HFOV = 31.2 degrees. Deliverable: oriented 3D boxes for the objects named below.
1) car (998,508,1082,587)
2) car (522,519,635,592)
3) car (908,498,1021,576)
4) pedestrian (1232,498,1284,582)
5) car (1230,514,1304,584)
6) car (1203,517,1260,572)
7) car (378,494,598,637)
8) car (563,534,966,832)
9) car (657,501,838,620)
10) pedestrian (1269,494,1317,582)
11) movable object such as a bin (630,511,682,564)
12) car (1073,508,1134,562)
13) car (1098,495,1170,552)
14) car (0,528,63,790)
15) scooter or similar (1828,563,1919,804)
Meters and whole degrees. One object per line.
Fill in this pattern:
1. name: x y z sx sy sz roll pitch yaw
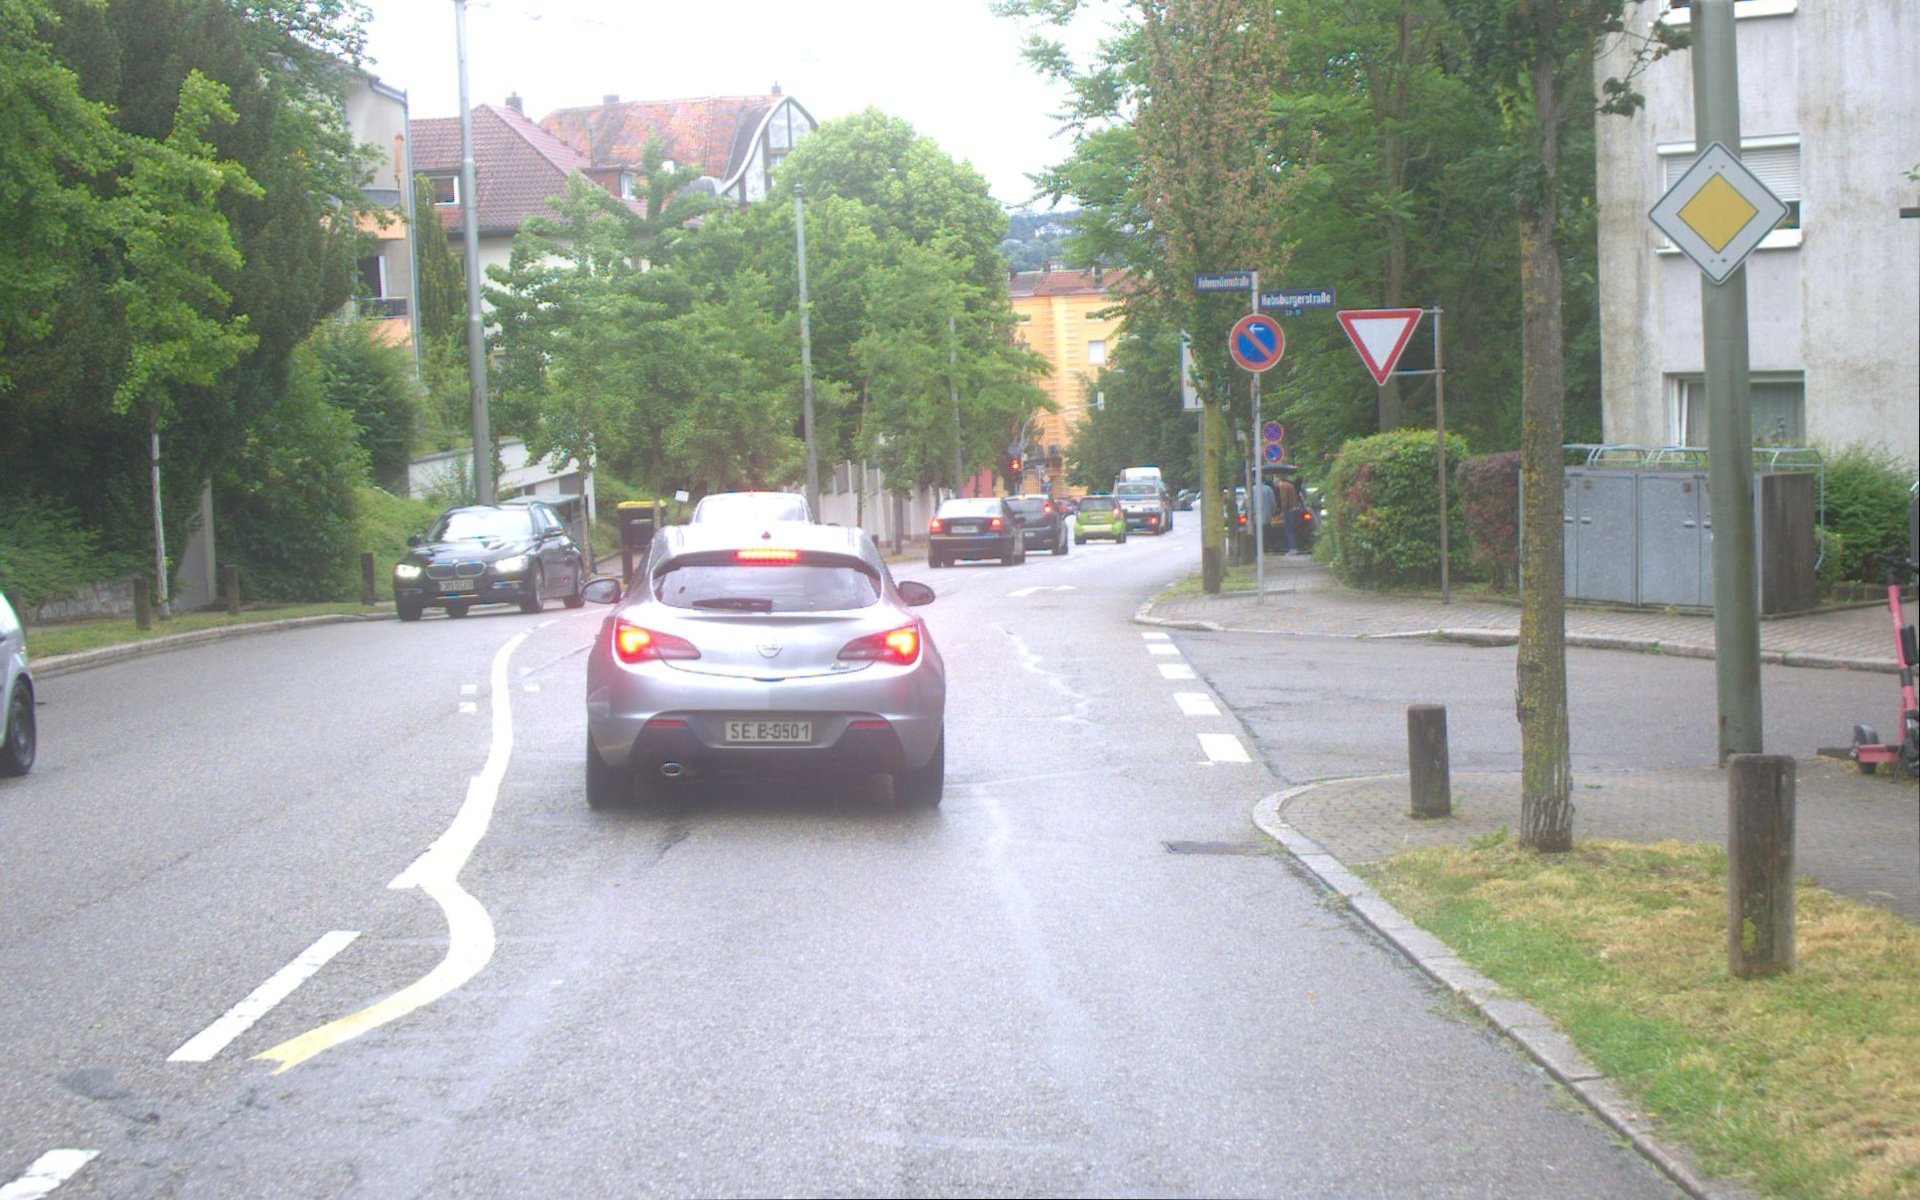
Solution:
1. car: 1.951 -1.290 82.547 1.769 1.775 3.976 1 2 4
2. car: -8.522 -1.013 77.085 1.742 1.451 3.884 -5 1 4
3. car: 0.125 -1.309 69.830 1.961 1.467 3.950 1 2 5
4. pedestrian: 6.314 -1.265 72.912 0.734 1.718 0.765 -5 1 -19
5. car: 6.729 -1.119 75.413 1.504 1.430 3.999 -3 1 5
6. car: 10.709 -2.223 135.359 1.994 2.029 4.734 1 2 7
7. car: -5.973 -0.460 43.992 1.911 1.579 4.587 -5 1 2
8. car: -0.981 0.376 18.697 1.945 1.427 3.884 1 1 -1
9. car: -2.450 -0.483 40.452 1.798 1.318 4.000 -1 1 1
10. pedestrian: 7.077 -1.316 73.087 0.663 1.830 0.689 -5 1 -18
11. movable object such as a bin: -7.904 -1.627 89.514 1.272 1.382 0.489 0 2 4
12. car: 4.571 -2.046 108.807 1.754 1.645 4.000 1 1 4
13. car: 6.460 -2.849 127.083 2.334 2.029 4.734 1 2 7
14. car: -6.423 0.427 19.027 1.765 1.481 3.801 -3 2 1
15. scooter or similar: 5.042 0.431 18.513 0.342 1.250 1.267 1 0 -2
